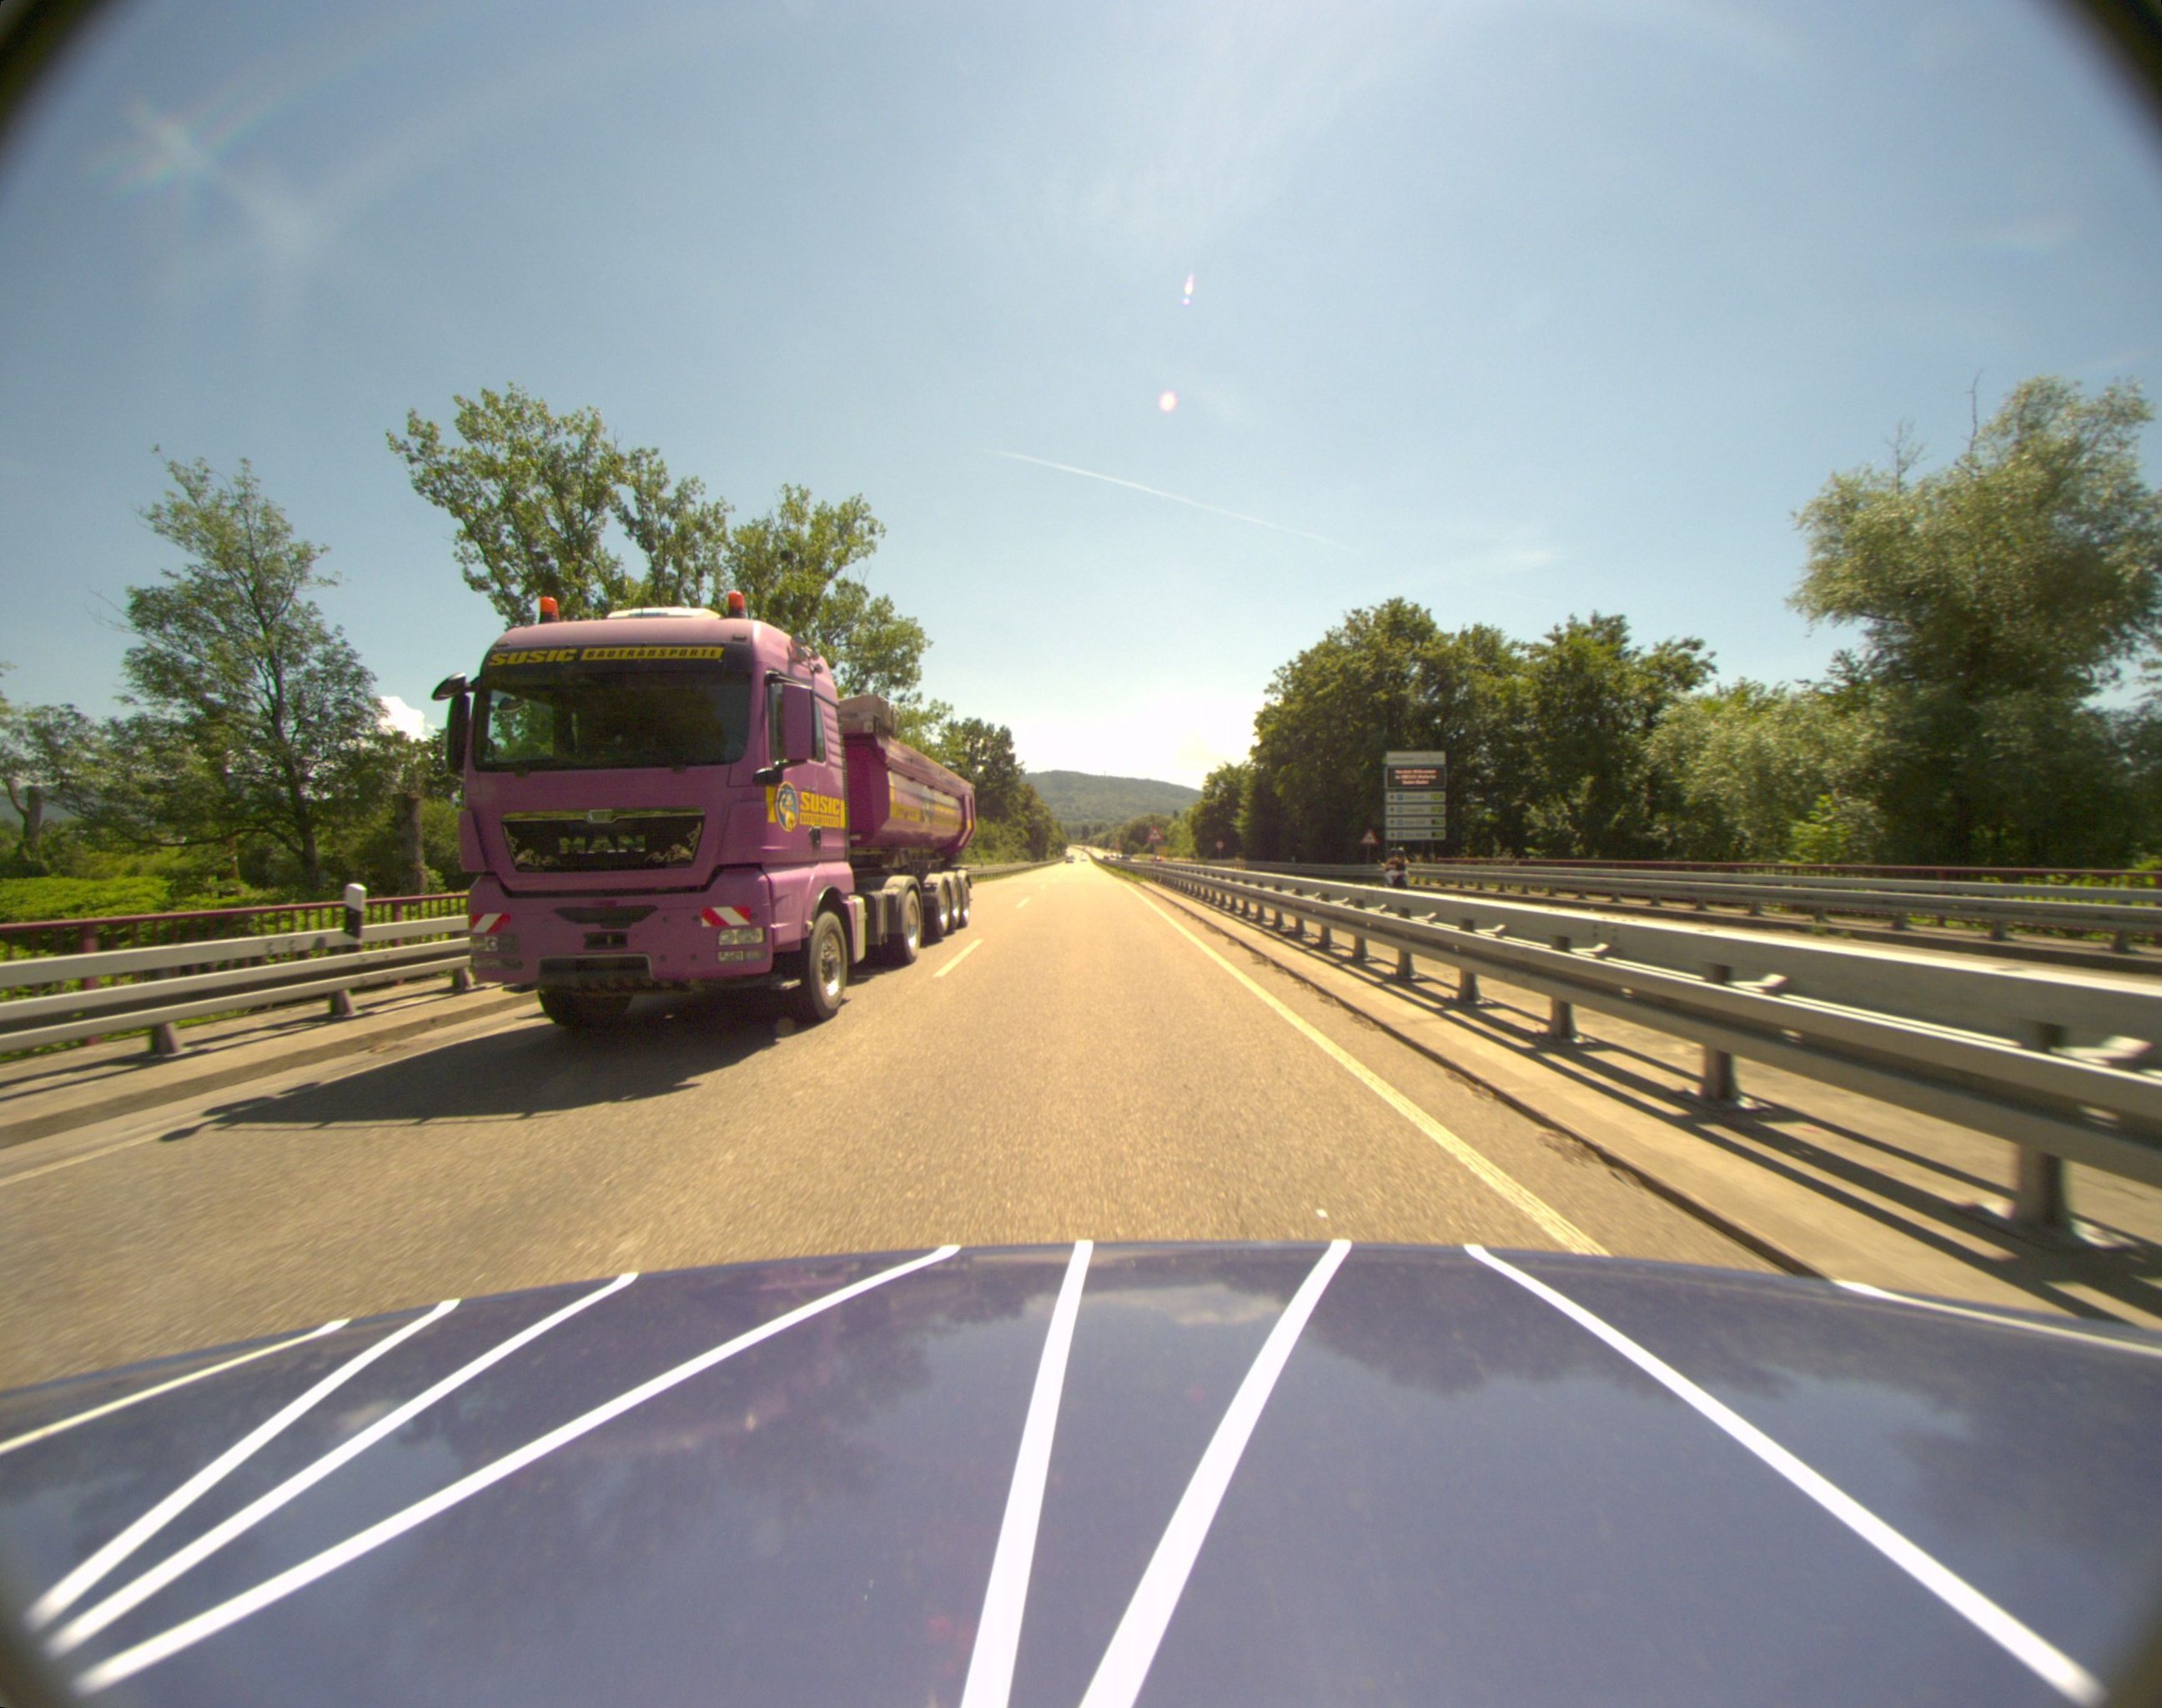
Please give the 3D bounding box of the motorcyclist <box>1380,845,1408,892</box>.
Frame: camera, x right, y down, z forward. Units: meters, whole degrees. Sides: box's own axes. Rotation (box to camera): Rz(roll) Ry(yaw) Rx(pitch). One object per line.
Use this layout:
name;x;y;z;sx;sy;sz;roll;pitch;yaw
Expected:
motorcyclist;10.532;0.478;25.574;0.616;1.531;0.776;-1;1;1

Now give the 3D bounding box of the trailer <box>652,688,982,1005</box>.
trailer;-3.628;-0.109;13.138;2.605;3.608;8.612;-2;0;0

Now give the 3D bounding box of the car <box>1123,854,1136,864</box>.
car;8.178;0.775;128.412;1.998;1.652;4.389;-1;0;0

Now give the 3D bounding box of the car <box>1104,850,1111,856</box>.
car;8.131;-0.260;235.254;1.998;1.652;4.388;-1;1;0

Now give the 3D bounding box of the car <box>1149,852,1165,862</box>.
car;11.532;0.383;115.688;1.998;1.485;5.443;-1;0;0

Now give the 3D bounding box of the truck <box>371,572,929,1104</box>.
truck;-3.614;-0.127;8.316;2.605;3.670;5.938;-2;1;0

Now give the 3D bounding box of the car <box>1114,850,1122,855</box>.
car;11.555;-0.453;237.783;1.999;1.652;4.388;-1;1;0

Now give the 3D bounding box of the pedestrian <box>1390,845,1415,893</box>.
pedestrian;10.524;0.488;24.911;0.616;1.531;0.494;-1;1;1

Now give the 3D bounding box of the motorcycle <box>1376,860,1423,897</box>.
motorcycle;10.536;0.792;25.190;0.616;1.098;2.313;-1;1;1
